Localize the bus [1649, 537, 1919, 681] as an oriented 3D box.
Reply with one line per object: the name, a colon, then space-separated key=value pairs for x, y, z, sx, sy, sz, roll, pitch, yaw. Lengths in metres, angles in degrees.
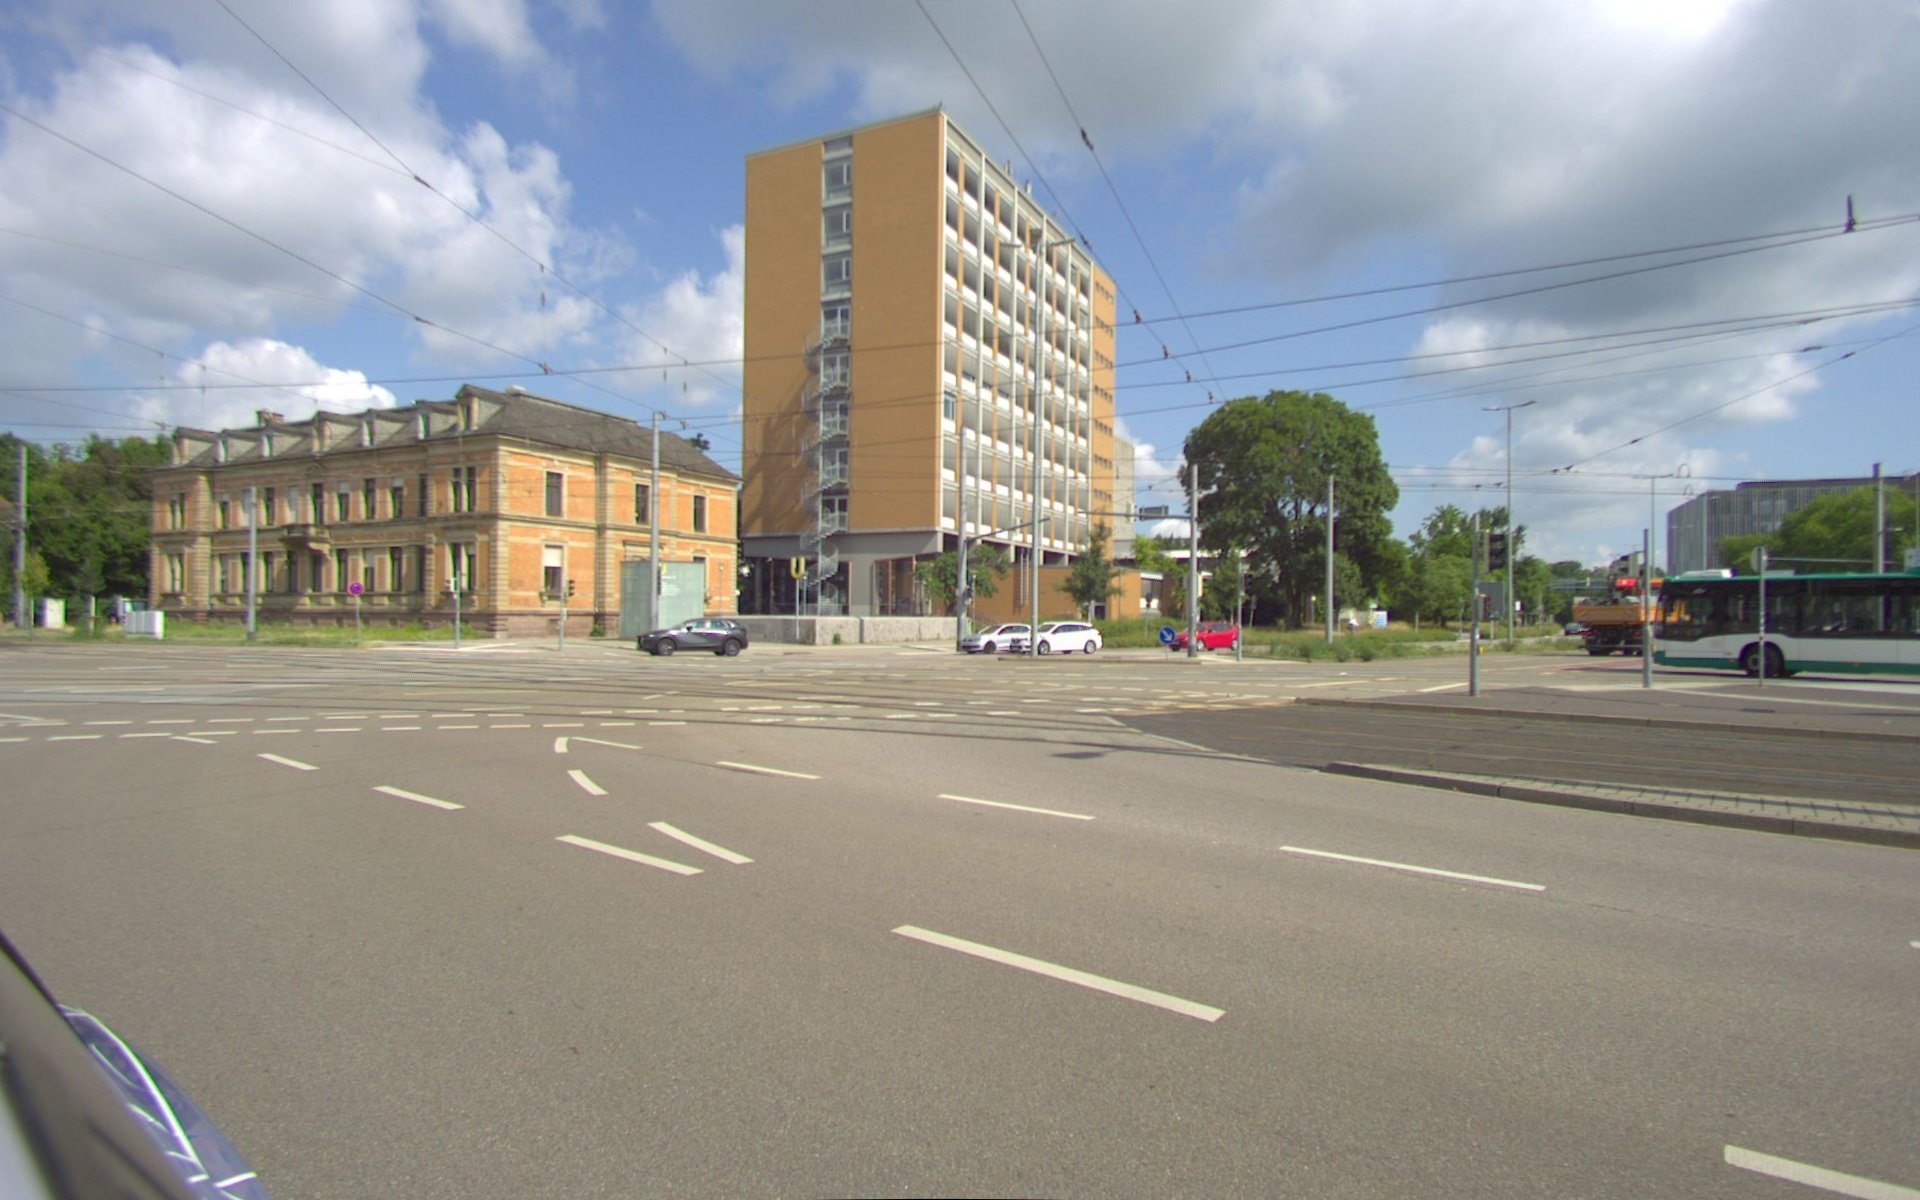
bus: x=25.588 y=0.252 z=26.324 sx=2.869 sy=3.648 sz=12.400 roll=1 pitch=-1 yaw=-39

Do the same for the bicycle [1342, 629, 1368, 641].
bicycle: x=29.565 y=2.638 z=75.734 sx=2.237 sy=0.904 sz=0.655 roll=1 pitch=-1 yaw=-34

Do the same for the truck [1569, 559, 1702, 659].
truck: x=29.690 y=0.457 z=44.334 sx=7.946 sy=4.039 sz=2.841 roll=1 pitch=-2 yaw=-41

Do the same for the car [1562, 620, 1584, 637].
car: x=65.774 y=3.084 z=108.552 sx=1.994 sy=1.769 sz=3.956 roll=0 pitch=-1 yaw=32

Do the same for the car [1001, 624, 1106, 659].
car: x=4.207 y=1.856 z=45.239 sx=4.596 sy=1.440 sz=1.768 roll=0 pitch=-3 yaw=-34

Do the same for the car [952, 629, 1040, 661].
car: x=1.709 y=2.097 z=47.588 sx=4.012 sy=1.396 sz=1.591 roll=0 pitch=-3 yaw=-38

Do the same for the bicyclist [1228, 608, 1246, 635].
bicyclist: x=17.307 y=1.342 z=63.258 sx=0.921 sy=1.684 sz=0.581 roll=1 pitch=0 yaw=-21

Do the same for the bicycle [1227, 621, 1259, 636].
bicycle: x=17.787 y=1.807 z=63.583 sx=1.778 sy=0.881 sz=0.764 roll=1 pitch=1 yaw=-21

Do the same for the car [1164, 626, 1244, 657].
car: x=12.211 y=2.075 z=50.619 sx=3.998 sy=1.479 sz=1.650 roll=0 pitch=-3 yaw=-36

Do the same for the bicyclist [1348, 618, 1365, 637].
bicyclist: x=29.698 y=2.064 z=75.840 sx=1.150 sy=1.468 sz=0.638 roll=1 pitch=-2 yaw=-33

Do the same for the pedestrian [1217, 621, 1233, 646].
pedestrian: x=17.389 y=2.192 z=66.383 sx=0.947 sy=1.590 sz=0.767 roll=0 pitch=-1 yaw=10

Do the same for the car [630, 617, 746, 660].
car: x=-10.691 y=1.506 z=39.835 sx=4.139 sy=1.588 sz=1.652 roll=0 pitch=-3 yaw=-28
